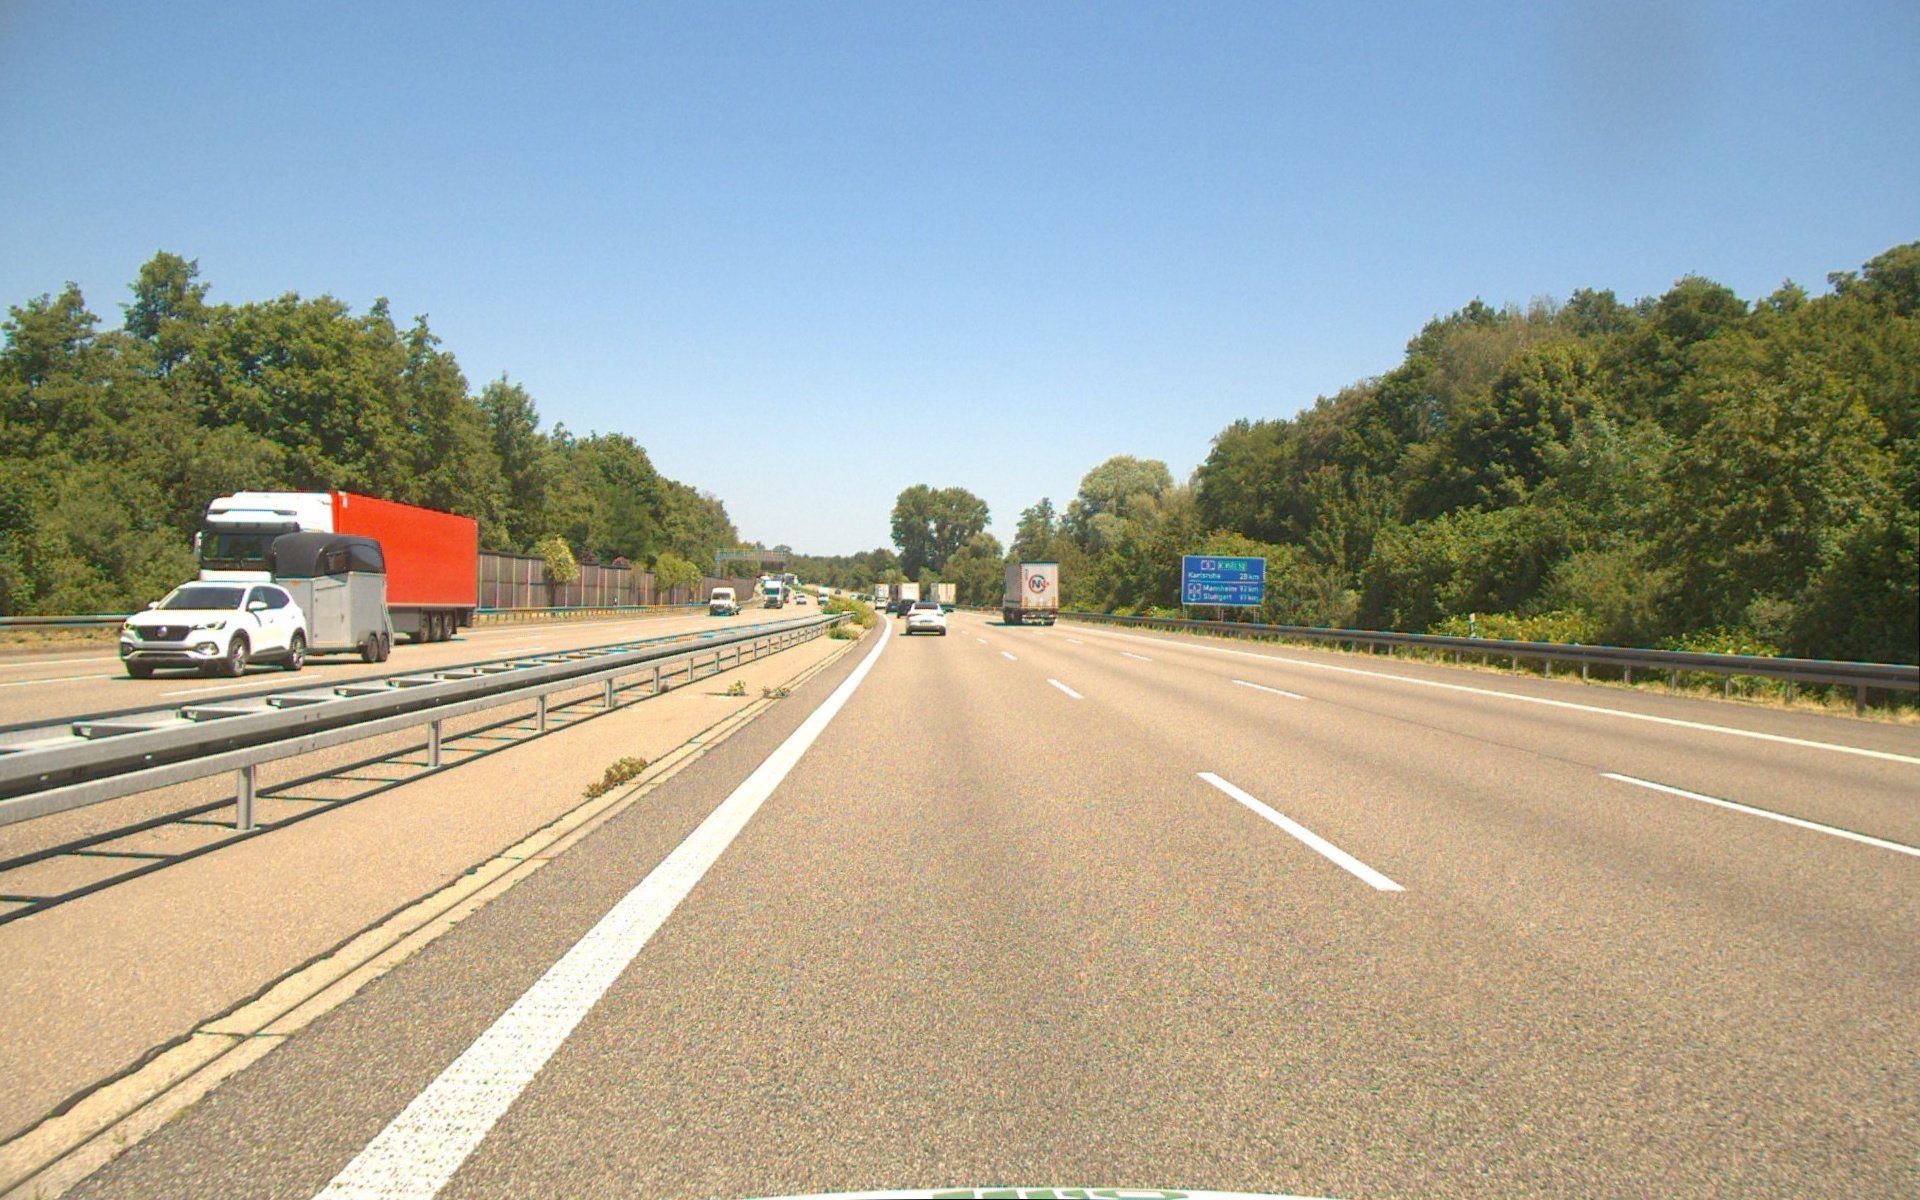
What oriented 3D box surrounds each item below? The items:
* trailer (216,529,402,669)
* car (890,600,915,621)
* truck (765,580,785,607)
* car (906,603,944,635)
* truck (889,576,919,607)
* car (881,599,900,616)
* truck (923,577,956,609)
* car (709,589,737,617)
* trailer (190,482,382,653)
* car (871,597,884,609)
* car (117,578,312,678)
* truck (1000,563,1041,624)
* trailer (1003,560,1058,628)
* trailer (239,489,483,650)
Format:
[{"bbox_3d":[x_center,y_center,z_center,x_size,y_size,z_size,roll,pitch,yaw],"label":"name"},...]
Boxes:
[{"bbox_3d":[-13.327,-0.015,34.200,2.044,2.659,4.953,0,0,-3],"label":"trailer"},{"bbox_3d":[-5.188,0.962,149.479,1.955,1.803,3.995,0,0,-6],"label":"car"},{"bbox_3d":[-27.990,-0.951,250.240,2.633,3.963,5.569,1,0,-4],"label":"truck"},{"bbox_3d":[-1.555,0.840,74.873,1.680,1.393,3.374,0,0,-1],"label":"car"},{"bbox_3d":[-8.387,-1.223,245.382,3.297,4.386,10.808,1,0,-8],"label":"truck"},{"bbox_3d":[-8.418,0.930,200.691,1.955,2.049,3.994,0,0,-7],"label":"car"},{"bbox_3d":[-2.923,-0.964,231.303,3.425,4.386,10.973,1,0,-6],"label":"truck"},{"bbox_3d":[-21.640,0.269,151.093,1.983,2.473,5.410,0,0,-2],"label":"car"},{"bbox_3d":[-17.375,-0.783,43.069,2.634,4.113,6.034,1,0,-2],"label":"trailer"},{"bbox_3d":[-12.585,0.488,252.500,1.691,1.814,3.993,0,0,-8],"label":"car"},{"bbox_3d":[-13.278,0.474,29.729,1.799,1.660,4.017,0,0,-2],"label":"car"},{"bbox_3d":[4.386,-0.474,120.615,2.554,4.362,5.432,1,0,-3],"label":"truck"},{"bbox_3d":[4.693,-0.389,113.511,2.571,4.335,14.054,1,0,-2],"label":"trailer"},{"bbox_3d":[-17.593,-0.798,50.008,2.630,4.139,14.045,1,0,-2],"label":"trailer"}]
